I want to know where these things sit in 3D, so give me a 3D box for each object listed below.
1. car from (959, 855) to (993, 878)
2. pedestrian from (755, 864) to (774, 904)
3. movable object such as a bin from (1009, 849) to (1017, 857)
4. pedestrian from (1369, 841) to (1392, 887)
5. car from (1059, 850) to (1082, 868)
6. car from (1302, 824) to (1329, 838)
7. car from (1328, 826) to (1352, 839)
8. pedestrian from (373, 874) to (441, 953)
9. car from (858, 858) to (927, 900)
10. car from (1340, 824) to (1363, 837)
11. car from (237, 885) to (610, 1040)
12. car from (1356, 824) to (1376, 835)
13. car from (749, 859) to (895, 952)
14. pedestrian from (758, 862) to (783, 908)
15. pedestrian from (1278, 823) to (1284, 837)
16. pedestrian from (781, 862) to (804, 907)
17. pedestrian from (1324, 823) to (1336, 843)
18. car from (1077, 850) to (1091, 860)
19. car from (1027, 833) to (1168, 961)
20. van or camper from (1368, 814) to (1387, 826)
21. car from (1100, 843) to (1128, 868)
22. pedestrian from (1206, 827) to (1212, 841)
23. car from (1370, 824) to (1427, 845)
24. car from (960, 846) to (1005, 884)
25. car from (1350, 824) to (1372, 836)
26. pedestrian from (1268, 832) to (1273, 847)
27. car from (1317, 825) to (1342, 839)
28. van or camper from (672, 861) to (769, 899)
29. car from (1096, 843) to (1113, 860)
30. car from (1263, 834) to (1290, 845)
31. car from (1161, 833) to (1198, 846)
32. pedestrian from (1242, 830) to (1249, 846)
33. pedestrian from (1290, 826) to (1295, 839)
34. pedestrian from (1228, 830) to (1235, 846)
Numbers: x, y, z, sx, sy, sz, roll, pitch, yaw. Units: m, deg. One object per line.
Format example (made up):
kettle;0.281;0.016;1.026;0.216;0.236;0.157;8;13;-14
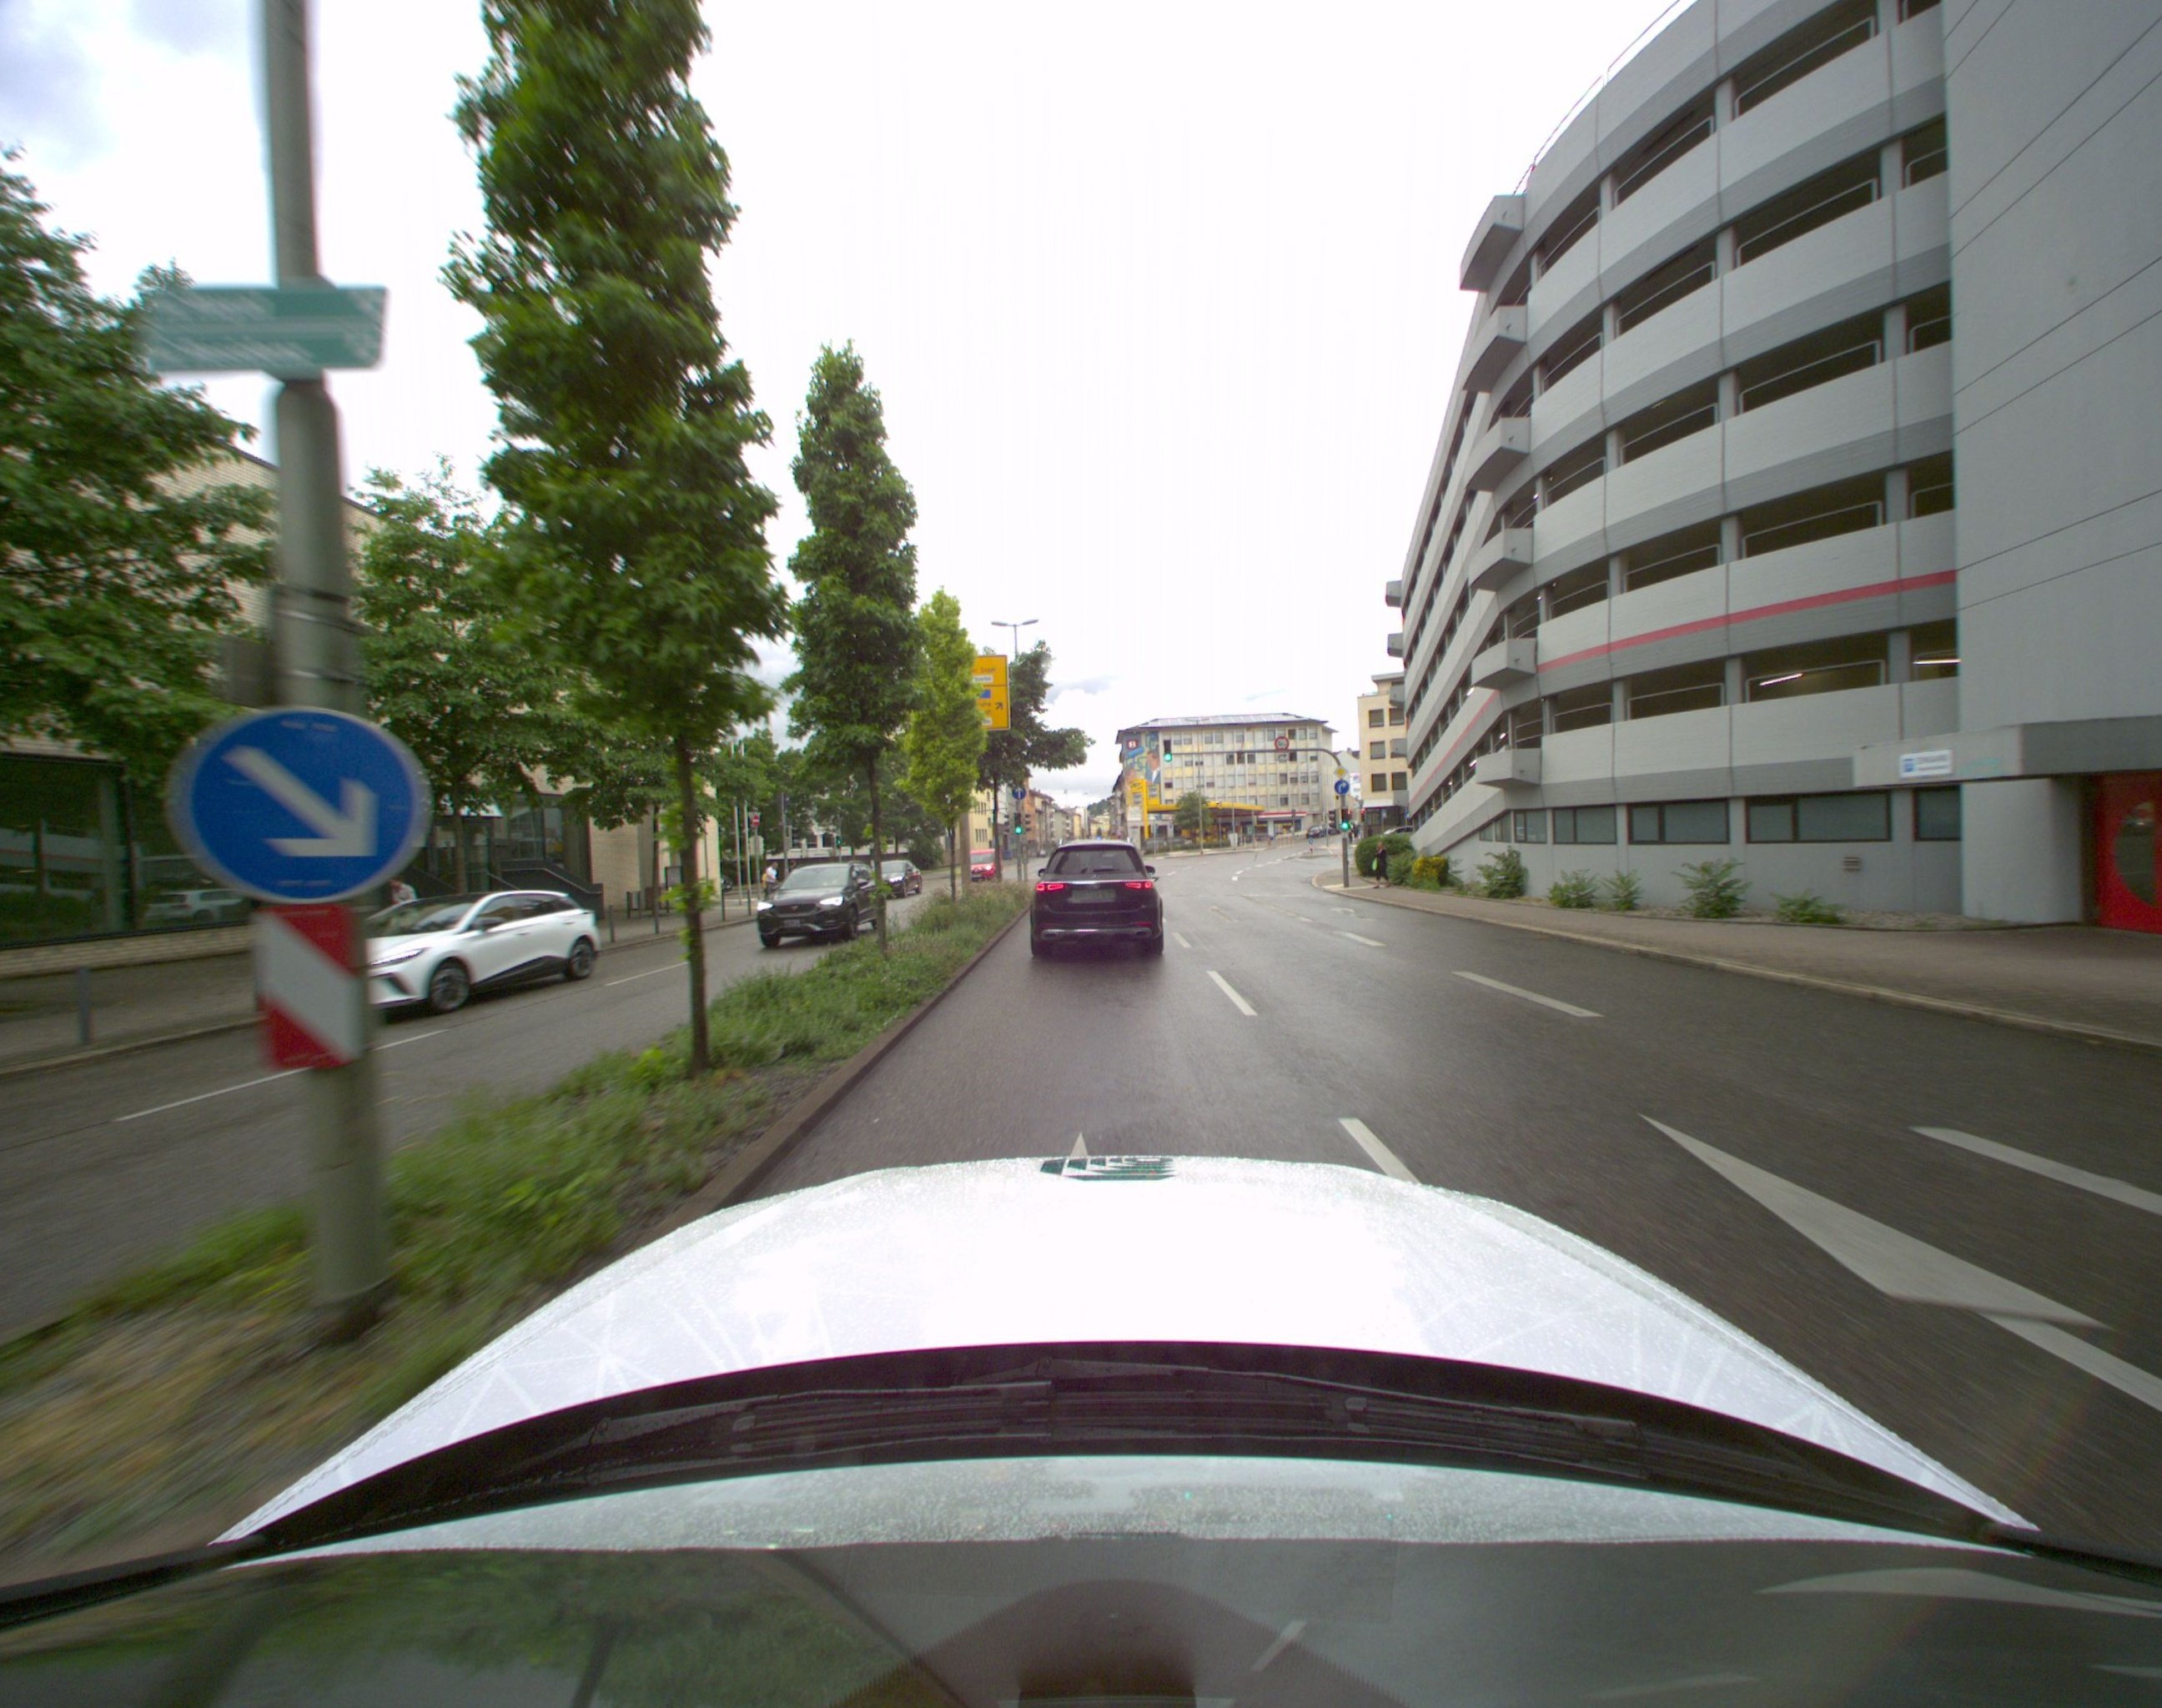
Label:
car;-7.778;0.874;60.677;1.840;1.429;4.436;-4;1;1
pedestrian;-12.488;1.186;32.131;0.437;1.534;0.545;-3;0;-1
movable object such as a bin;-8.881;-0.133;106.373;0.906;1.038;0.844;-1;-1;2
pedestrian;11.118;0.379;30.200;0.639;1.710;0.474;-2;-2;37
car;-0.936;0.457;74.481;1.986;1.614;4.190;-1;-1;1
car;29.762;-2.916;103.149;1.974;1.706;4.026;-3;0;35
car;35.500;-2.966;111.522;1.974;1.706;4.026;-3;0;35
pedestrian;-14.686;1.272;17.767;0.641;1.666;1.017;0;-1;-4
car;-8.186;1.042;35.810;1.882;1.586;4.536;-4;0;0
car;38.743;-3.434;116.498;1.974;1.706;4.026;-3;0;35
car;-8.723;1.320;11.409;1.728;1.469;4.229;-5;0;-1
car;46.078;-3.989;131.616;1.974;1.706;4.026;-3;0;35
car;-5.400;0.985;17.589;1.728;1.625;4.229;-5;0;-1
pedestrian;-11.751;1.158;30.802;0.609;1.656;0.691;-3;0;-1
pedestrian;24.901;-3.003;101.413;0.521;1.727;0.693;-2;0;28
pedestrian;-11.568;1.200;32.702;0.687;1.757;0.716;-2;0;-10
pedestrian;26.590;-2.236;86.979;0.853;2.128;0.947;-3;0;-4
car;0.536;0.184;135.355;1.985;1.547;4.194;-1;-1;4
car;0.296;0.639;13.561;1.986;1.800;4.001;-1;-1;1
van or camper;52.785;-6.019;144.944;1.974;1.979;4.543;-3;0;35
car;2.433;0.166;60.895;1.986;1.800;4.001;-1;-1;1
pedestrian;15.872;-2.471;100.884;0.521;1.727;0.693;-2;0;31
car;26.626;-1.624;68.398;4.160;1.439;1.863;-3;0;8
car;-5.348;0.595;44.773;1.787;1.854;4.791;-4;0;-1
car;41.619;-3.567;121.023;1.974;1.706;4.026;-3;0;35
pedestrian;18.185;-1.409;78.210;0.394;1.400;0.447;-1;-1;2
car;32.795;-2.877;107.358;1.974;1.706;4.026;-3;0;35
van or camper;-21.050;1.502;47.679;4.721;1.931;2.023;-2;0;1
car;2.836;-0.261;98.139;1.987;2.014;4.000;-1;-1;0
car;27.065;-2.006;112.505;1.974;1.398;4.025;-1;-1;40
car;11.238;-1.656;93.386;1.747;1.376;3.951;-3;0;-42
pedestrian;17.177;-1.649;85.080;0.570;1.697;0.631;-1;-1;2
pedestrian;26.460;-2.665;101.940;0.478;1.641;0.441;-1;-1;30
pedestrian;16.001;-1.721;86.486;0.521;1.727;0.693;-2;0;28
